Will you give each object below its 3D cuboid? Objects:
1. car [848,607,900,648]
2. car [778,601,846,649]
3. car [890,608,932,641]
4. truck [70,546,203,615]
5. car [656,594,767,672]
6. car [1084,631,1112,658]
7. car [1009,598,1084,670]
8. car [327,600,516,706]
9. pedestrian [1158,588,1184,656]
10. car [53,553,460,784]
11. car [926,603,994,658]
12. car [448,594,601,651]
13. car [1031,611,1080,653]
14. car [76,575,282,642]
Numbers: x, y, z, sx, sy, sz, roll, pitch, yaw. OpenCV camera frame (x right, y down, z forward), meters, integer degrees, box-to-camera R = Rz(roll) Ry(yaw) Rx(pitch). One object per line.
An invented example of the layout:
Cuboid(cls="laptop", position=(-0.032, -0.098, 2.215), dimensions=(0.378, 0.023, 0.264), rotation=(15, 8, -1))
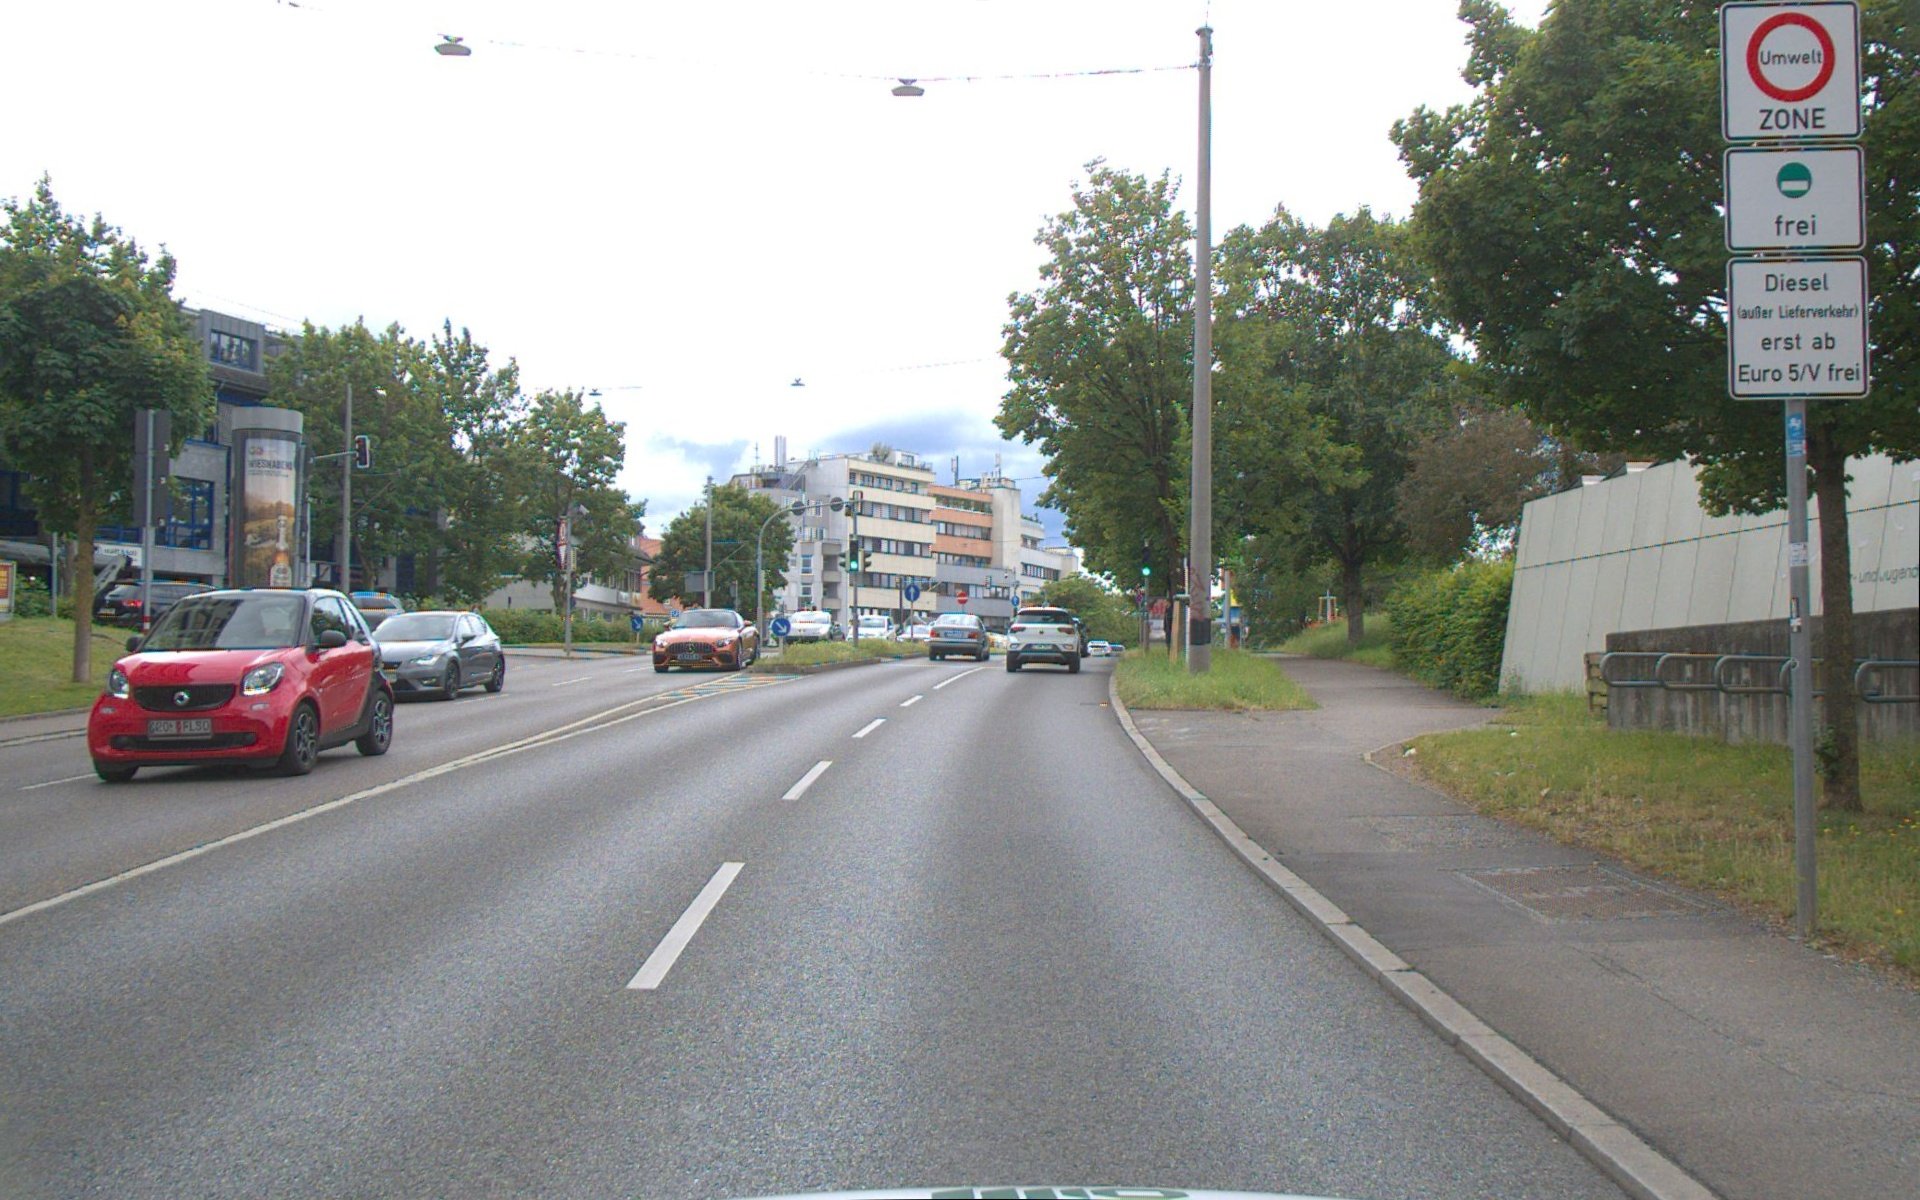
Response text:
Cuboid(cls="car", position=(-3.395, 1.071, 66.170), dimensions=(1.740, 1.592, 4.001), rotation=(0, 0, 2))
Cuboid(cls="car", position=(-4.797, 0.785, 53.976), dimensions=(1.740, 1.507, 3.981), rotation=(0, 0, 2))
Cuboid(cls="car", position=(-2.355, 1.176, 80.694), dimensions=(1.740, 1.507, 4.482), rotation=(-1, 0, 2))
Cuboid(cls="truck", position=(-30.306, -0.694, 60.997), dimensions=(1.954, 2.428, 3.997), rotation=(2, 0, 25))
Cuboid(cls="car", position=(-5.613, 0.700, 37.822), dimensions=(1.734, 1.598, 4.286), rotation=(-2, 0, 1))
Cuboid(cls="car", position=(9.055, 2.920, 109.046), dimensions=(1.733, 1.598, 4.287), rotation=(0, 0, 3))
Cuboid(cls="car", position=(2.190, 0.808, 41.130), dimensions=(1.664, 1.575, 3.738), rotation=(3, 1, 5))
Cuboid(cls="car", position=(-8.750, 0.809, 27.246), dimensions=(1.711, 1.521, 4.207), rotation=(-2, 0, 0))
Cuboid(cls="pedestrian", position=(5.895, 0.600, 46.267), dimensions=(0.629, 1.888, 0.673), rotation=(0, 0, 0))
Cuboid(cls="car", position=(-6.190, 0.527, 15.204), dimensions=(1.832, 1.731, 4.428), rotation=(-2, 0, -1))
Cuboid(cls="car", position=(0.038, 0.888, 50.306), dimensions=(1.663, 1.542, 3.739), rotation=(0, 1, 7))
Cuboid(cls="car", position=(-12.494, 0.635, 47.587), dimensions=(1.750, 1.571, 3.975), rotation=(0, -1, 42))
Cuboid(cls="car", position=(3.660, 1.222, 63.680), dimensions=(1.665, 1.542, 3.493), rotation=(1, -1, 0))
Cuboid(cls="car", position=(-18.882, 0.207, 40.211), dimensions=(1.741, 1.488, 4.438), rotation=(2, 1, 24))
